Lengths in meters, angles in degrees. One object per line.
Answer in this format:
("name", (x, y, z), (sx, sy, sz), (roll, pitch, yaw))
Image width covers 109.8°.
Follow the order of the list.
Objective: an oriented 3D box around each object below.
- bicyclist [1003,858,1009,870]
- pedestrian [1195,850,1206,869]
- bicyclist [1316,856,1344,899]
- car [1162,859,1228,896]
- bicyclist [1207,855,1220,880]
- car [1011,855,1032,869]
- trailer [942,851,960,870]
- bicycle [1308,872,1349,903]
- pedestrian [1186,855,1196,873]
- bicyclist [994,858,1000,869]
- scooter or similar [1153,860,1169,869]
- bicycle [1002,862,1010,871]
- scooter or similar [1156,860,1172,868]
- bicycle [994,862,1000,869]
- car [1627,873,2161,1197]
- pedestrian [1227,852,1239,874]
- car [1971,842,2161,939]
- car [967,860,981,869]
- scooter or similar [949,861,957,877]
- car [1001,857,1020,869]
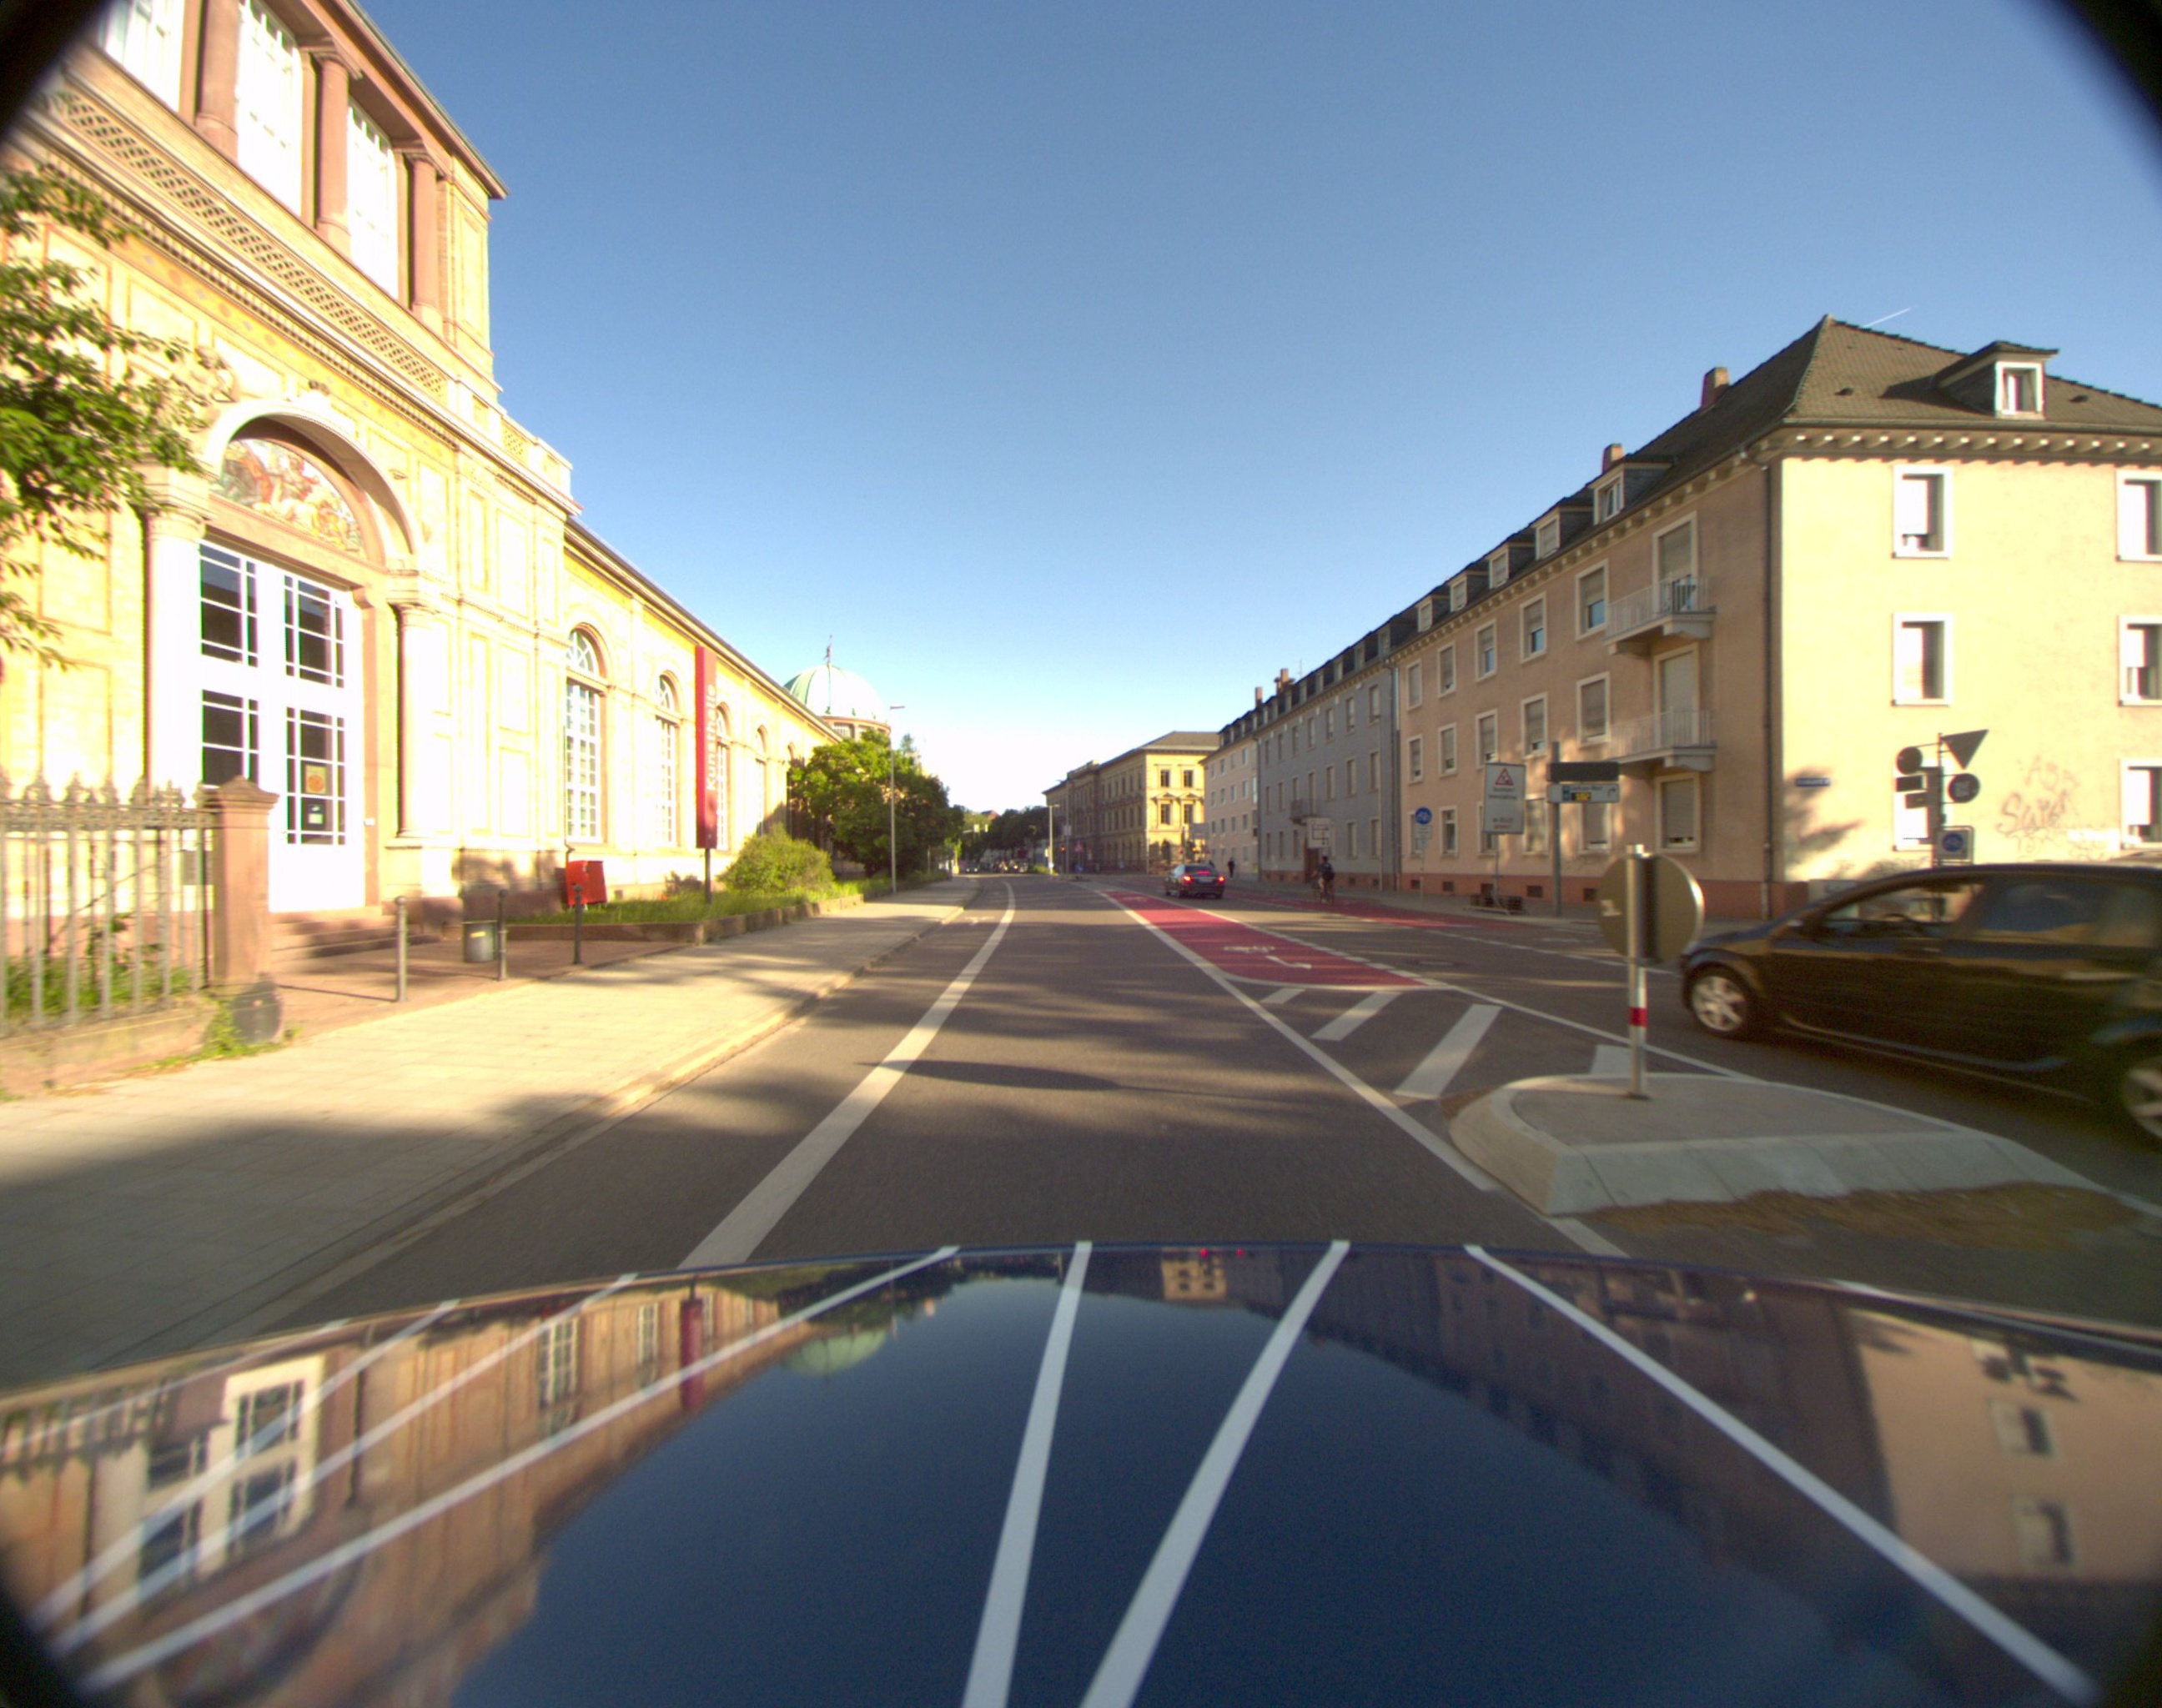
("bicyclist", (-10.180, 1.357, 103.223), (0.805, 1.598, 0.824), (0, 0, -11))
("pedestrian", (11.916, 0.583, 75.710), (0.870, 1.852, 1.015), (-3, 0, -2))
("bicyclist", (8.611, 0.806, 26.302), (0.658, 1.476, 0.665), (2, 0, -3))
("car", (4.681, 0.928, 31.834), (1.817, 1.411, 4.553), (0, 0, -3))
("bicyclist", (9.260, 0.952, 53.250), (0.637, 1.700, 0.738), (2, 0, -7))
("car", (-8.263, 1.115, 105.084), (2.076, 1.904, 5.027), (0, 0, -14))
("trailer", (-17.590, 0.907, 102.747), (2.087, 2.513, 4.487), (1, -1, -12))
("bicycle", (8.573, 1.139, 26.403), (0.653, 0.990, 2.109), (1, 0, -3))
("pedestrian", (10.038, 0.902, 69.430), (0.633, 1.574, 0.818), (-3, 1, -6))
("bicyclist", (-12.447, 1.376, 112.829), (0.675, 1.642, 0.886), (-1, 0, -13))
("scooter or similar", (10.298, 1.343, 97.828), (2.029, 1.181, 0.456), (0, 0, 16))
("bicycle", (-10.153, 1.645, 103.036), (0.831, 1.136, 1.968), (-1, 0, -11))
("scooter or similar", (10.729, 1.275, 98.657), (2.034, 1.045, 0.456), (0, 0, -9))
("bicycle", (-12.434, 1.676, 112.825), (0.671, 1.066, 1.751), (-1, 0, -12))
("car", (5.880, 0.887, 4.868), (1.763, 1.450, 3.999), (0, 0, -3))
("pedestrian", (12.776, 0.736, 63.781), (0.633, 1.835, 1.012), (-3, 1, -5))
("car", (19.987, 0.639, 14.000), (4.585, 1.668, 2.061), (0, 0, 3))
("car", (-16.608, 1.627, 118.244), (1.556, 1.288, 3.632), (3, -1, -16))
("scooter or similar", (-10.704, 1.272, 63.508), (0.557, 1.301, 1.831), (0, 0, -6))
("car", (-10.624, 1.310, 114.652), (1.999, 1.739, 4.741), (0, 0, -16))
